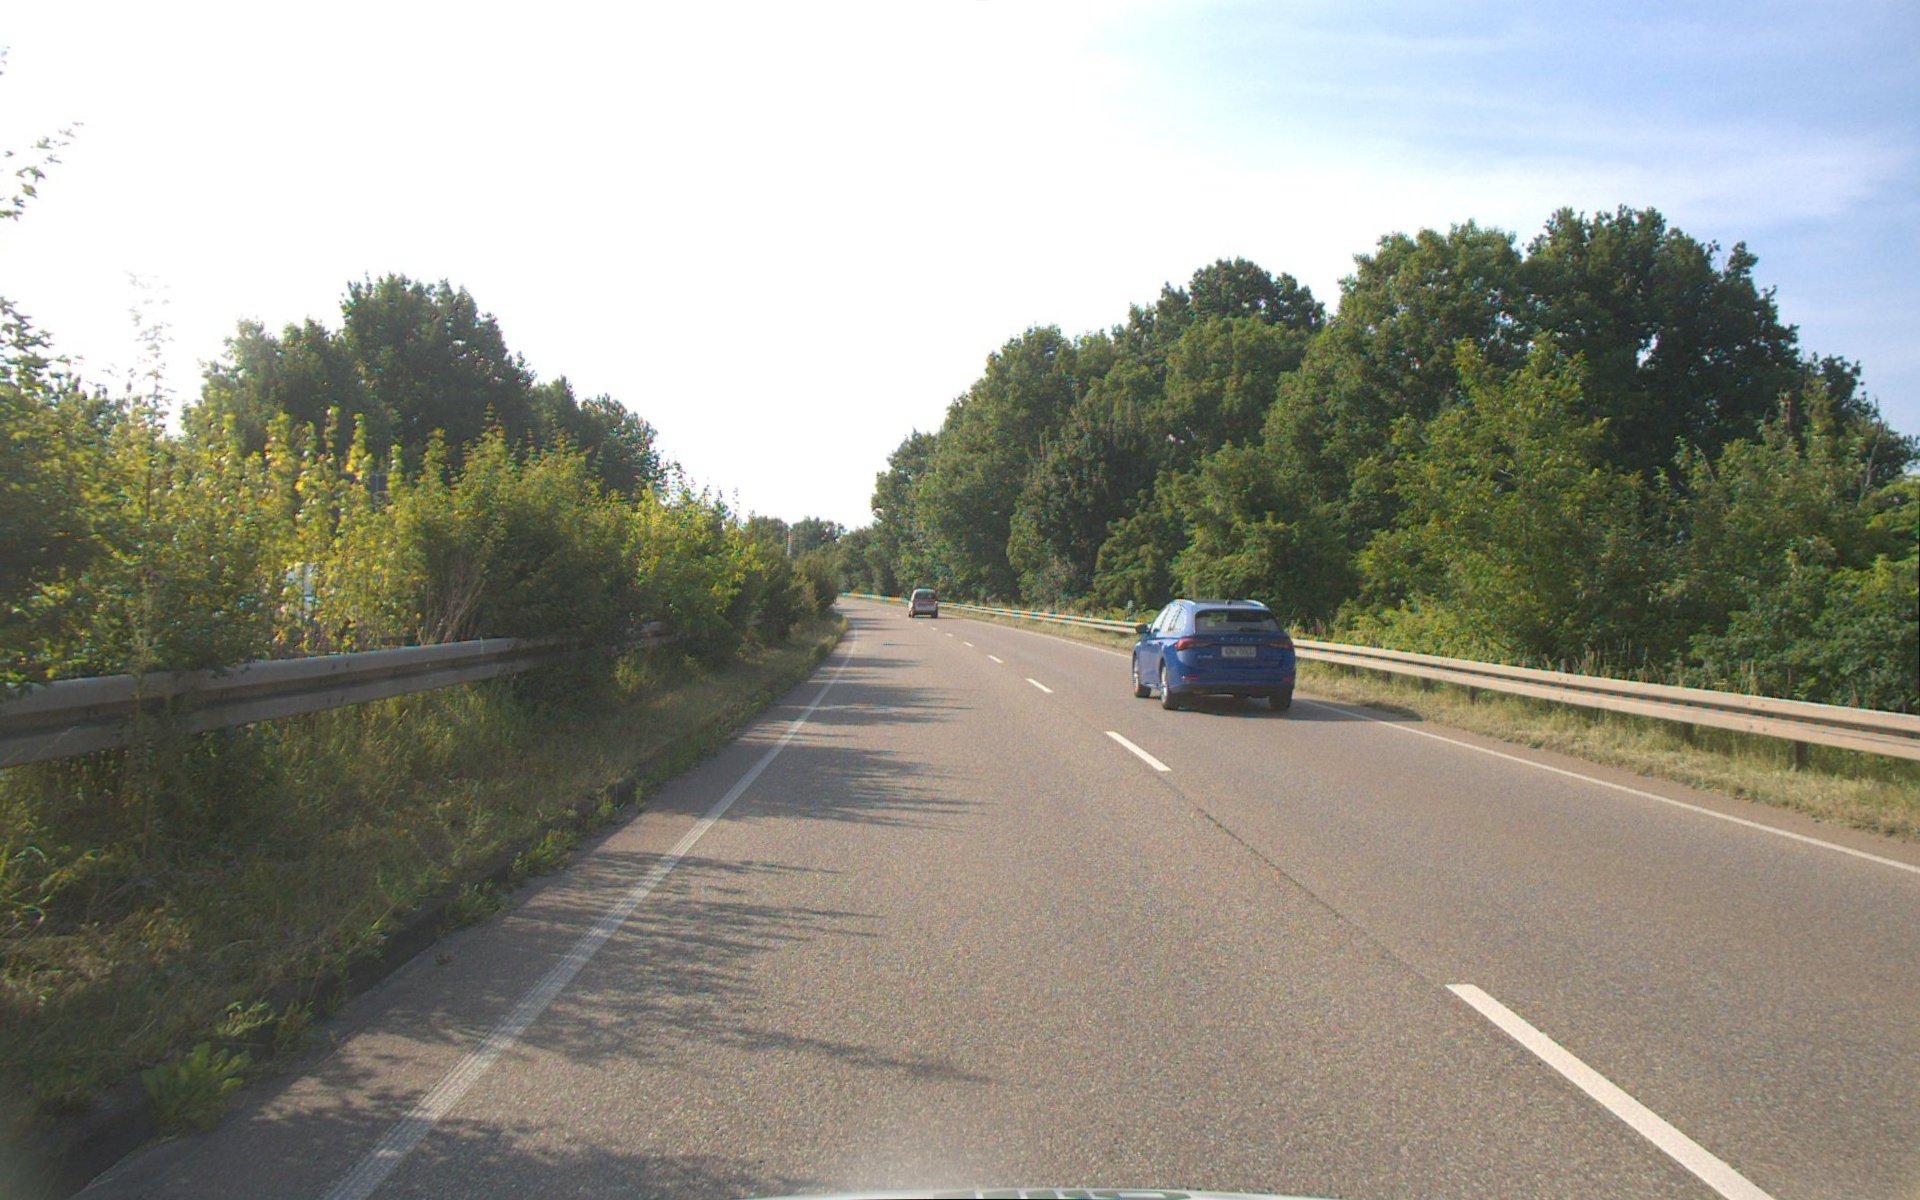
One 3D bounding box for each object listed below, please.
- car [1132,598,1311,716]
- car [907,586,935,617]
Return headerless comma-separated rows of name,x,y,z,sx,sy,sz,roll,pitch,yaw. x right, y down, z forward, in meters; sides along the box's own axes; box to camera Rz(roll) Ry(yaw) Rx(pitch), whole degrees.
car,3.562,0.725,23.199,1.743,1.477,3.998,1,0,-2
car,-2.527,0.074,106.180,1.730,1.914,3.998,1,1,-3
